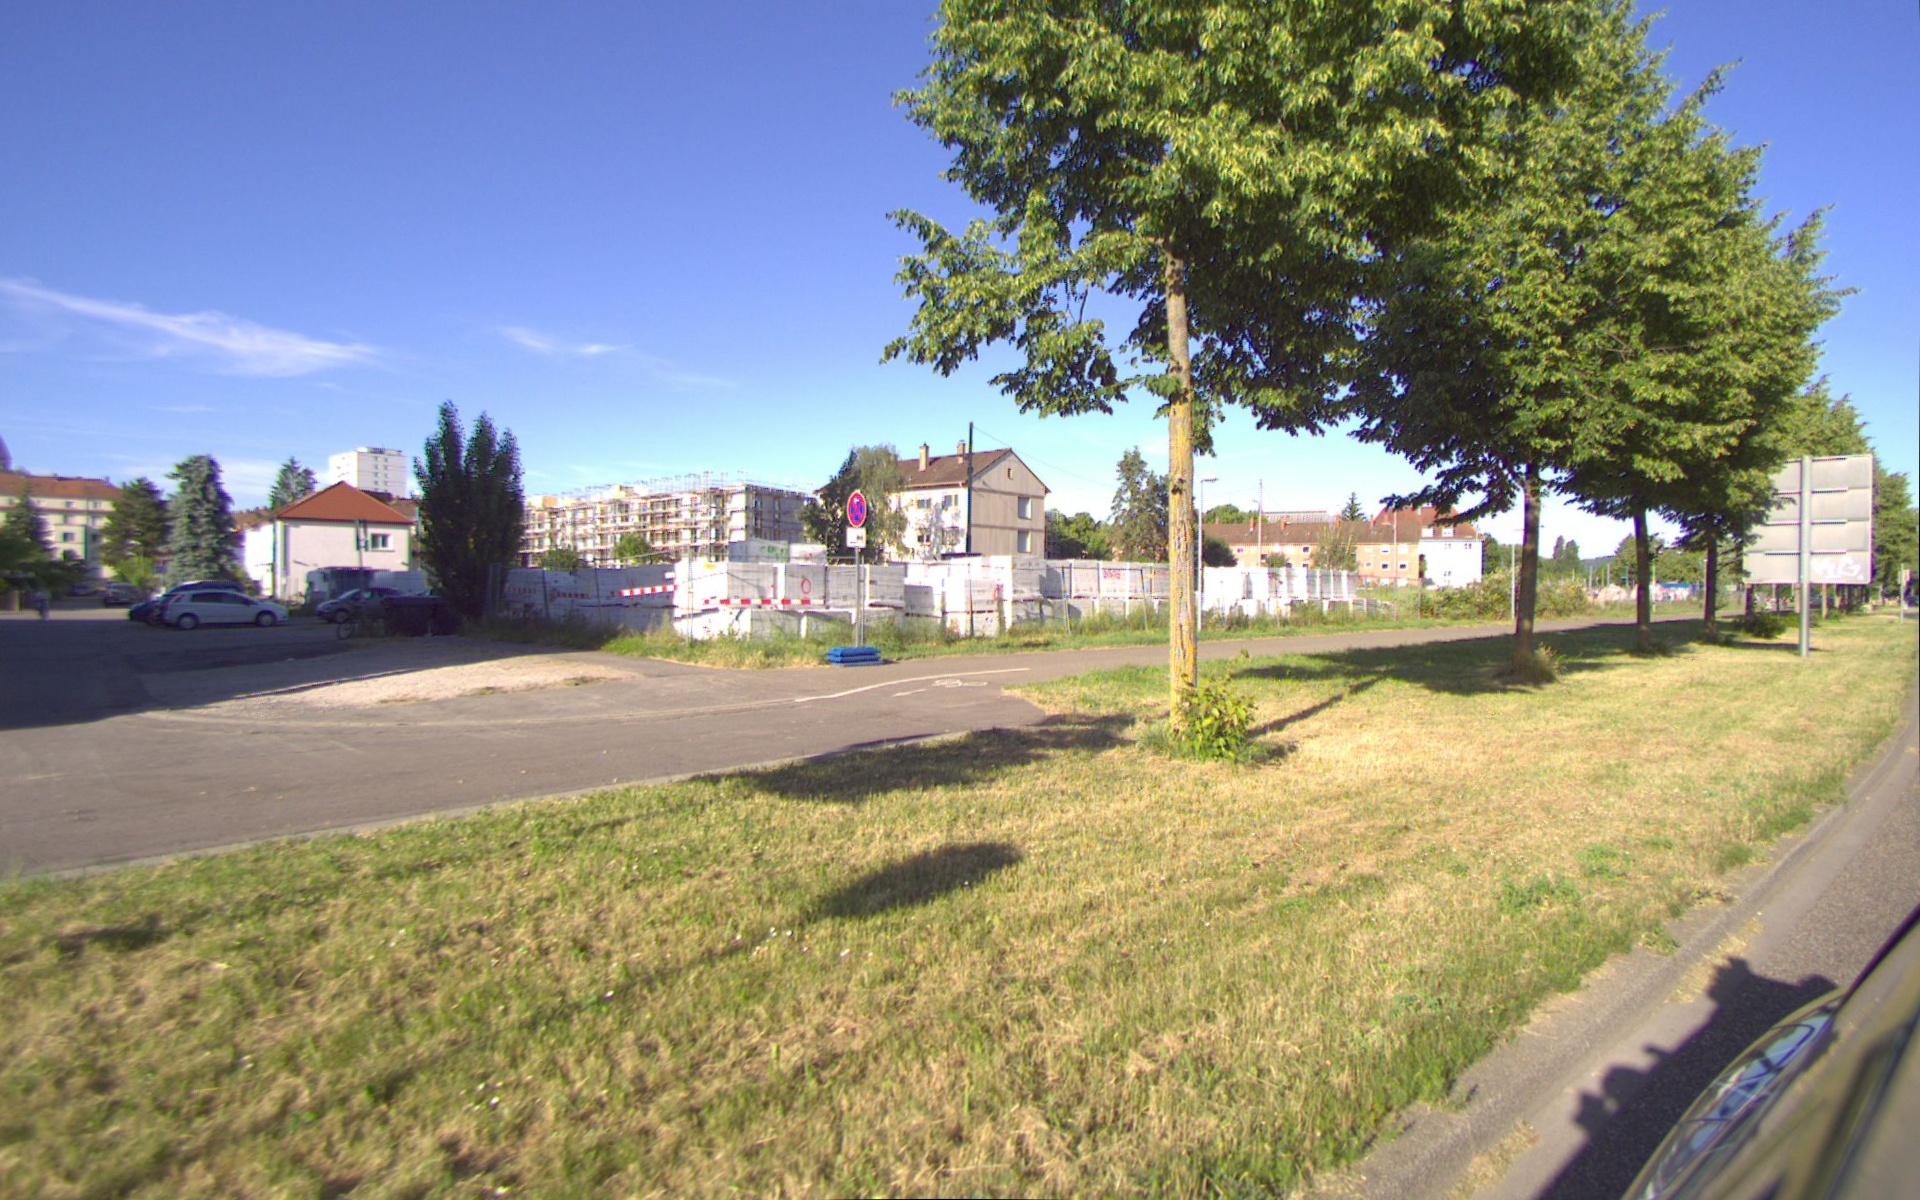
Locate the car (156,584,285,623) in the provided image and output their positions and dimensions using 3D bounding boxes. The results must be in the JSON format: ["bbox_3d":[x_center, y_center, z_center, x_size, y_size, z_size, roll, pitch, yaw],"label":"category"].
[{"bbox_3d":[-29.196,0.104,40.016,3.934,1.482,1.673,0,1,-44],"label":"car"}]

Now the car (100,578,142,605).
[{"bbox_3d":[-55.789,-0.582,67.265,1.826,1.660,3.813,-2,2,-44],"label":"car"}]

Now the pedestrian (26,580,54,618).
[{"bbox_3d":[-45.570,-0.052,50.109,0.948,1.854,1.193,-2,2,-44],"label":"pedestrian"}]

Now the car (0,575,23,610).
[{"bbox_3d":[-56.645,-0.390,58.099,1.992,2.038,3.941,0,2,41],"label":"car"}]

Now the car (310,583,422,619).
[{"bbox_3d":[-25.676,0.030,43.813,3.934,1.485,1.673,0,1,-44],"label":"car"}]

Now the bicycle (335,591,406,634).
[{"bbox_3d":[-17.195,0.351,29.524,1.716,1.206,0.584,0,0,-41],"label":"bicycle"}]

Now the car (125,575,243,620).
[{"bbox_3d":[-33.521,-0.134,43.780,3.934,1.873,1.673,0,1,-44],"label":"car"}]
